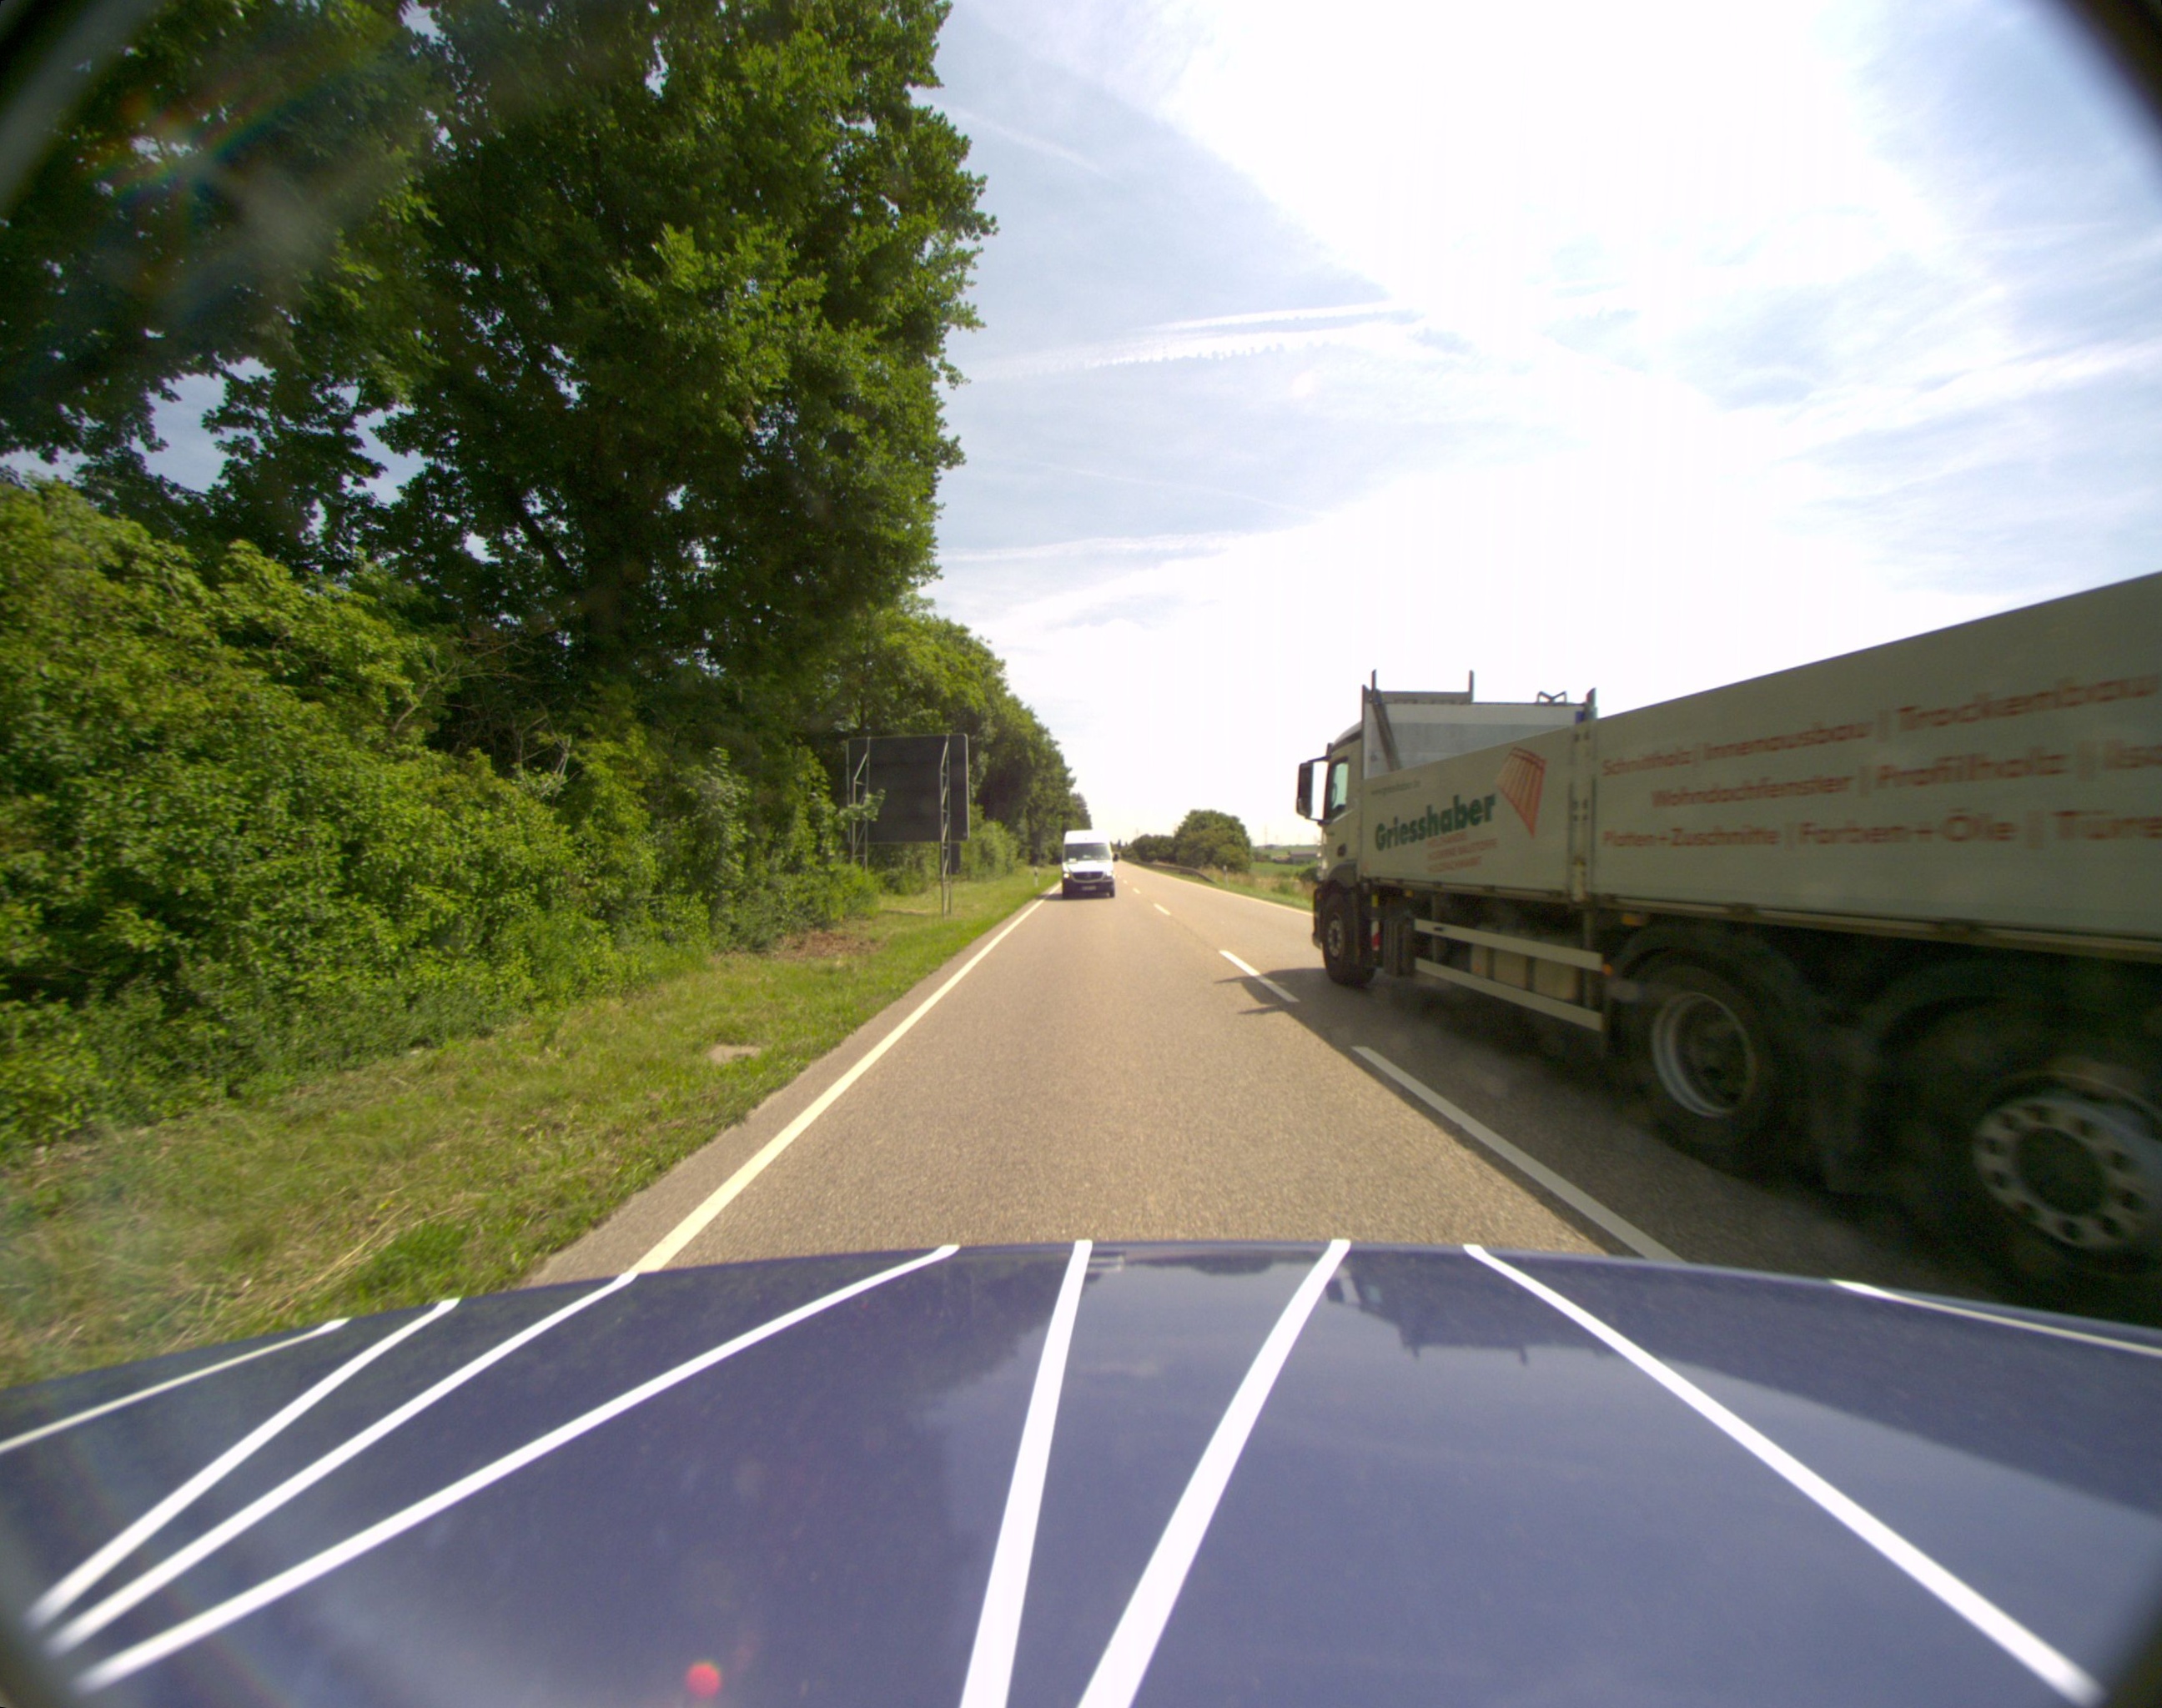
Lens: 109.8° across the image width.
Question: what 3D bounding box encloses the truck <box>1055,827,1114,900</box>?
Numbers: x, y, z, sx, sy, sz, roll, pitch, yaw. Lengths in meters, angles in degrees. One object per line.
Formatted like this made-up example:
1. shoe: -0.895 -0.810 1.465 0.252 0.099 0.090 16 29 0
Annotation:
1. truck: 0.275 0.321 30.932 2.022 2.568 7.226 -2 0 2

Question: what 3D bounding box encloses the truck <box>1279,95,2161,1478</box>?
1. truck: 4.150 -0.175 4.896 2.763 3.555 11.064 1 0 0
